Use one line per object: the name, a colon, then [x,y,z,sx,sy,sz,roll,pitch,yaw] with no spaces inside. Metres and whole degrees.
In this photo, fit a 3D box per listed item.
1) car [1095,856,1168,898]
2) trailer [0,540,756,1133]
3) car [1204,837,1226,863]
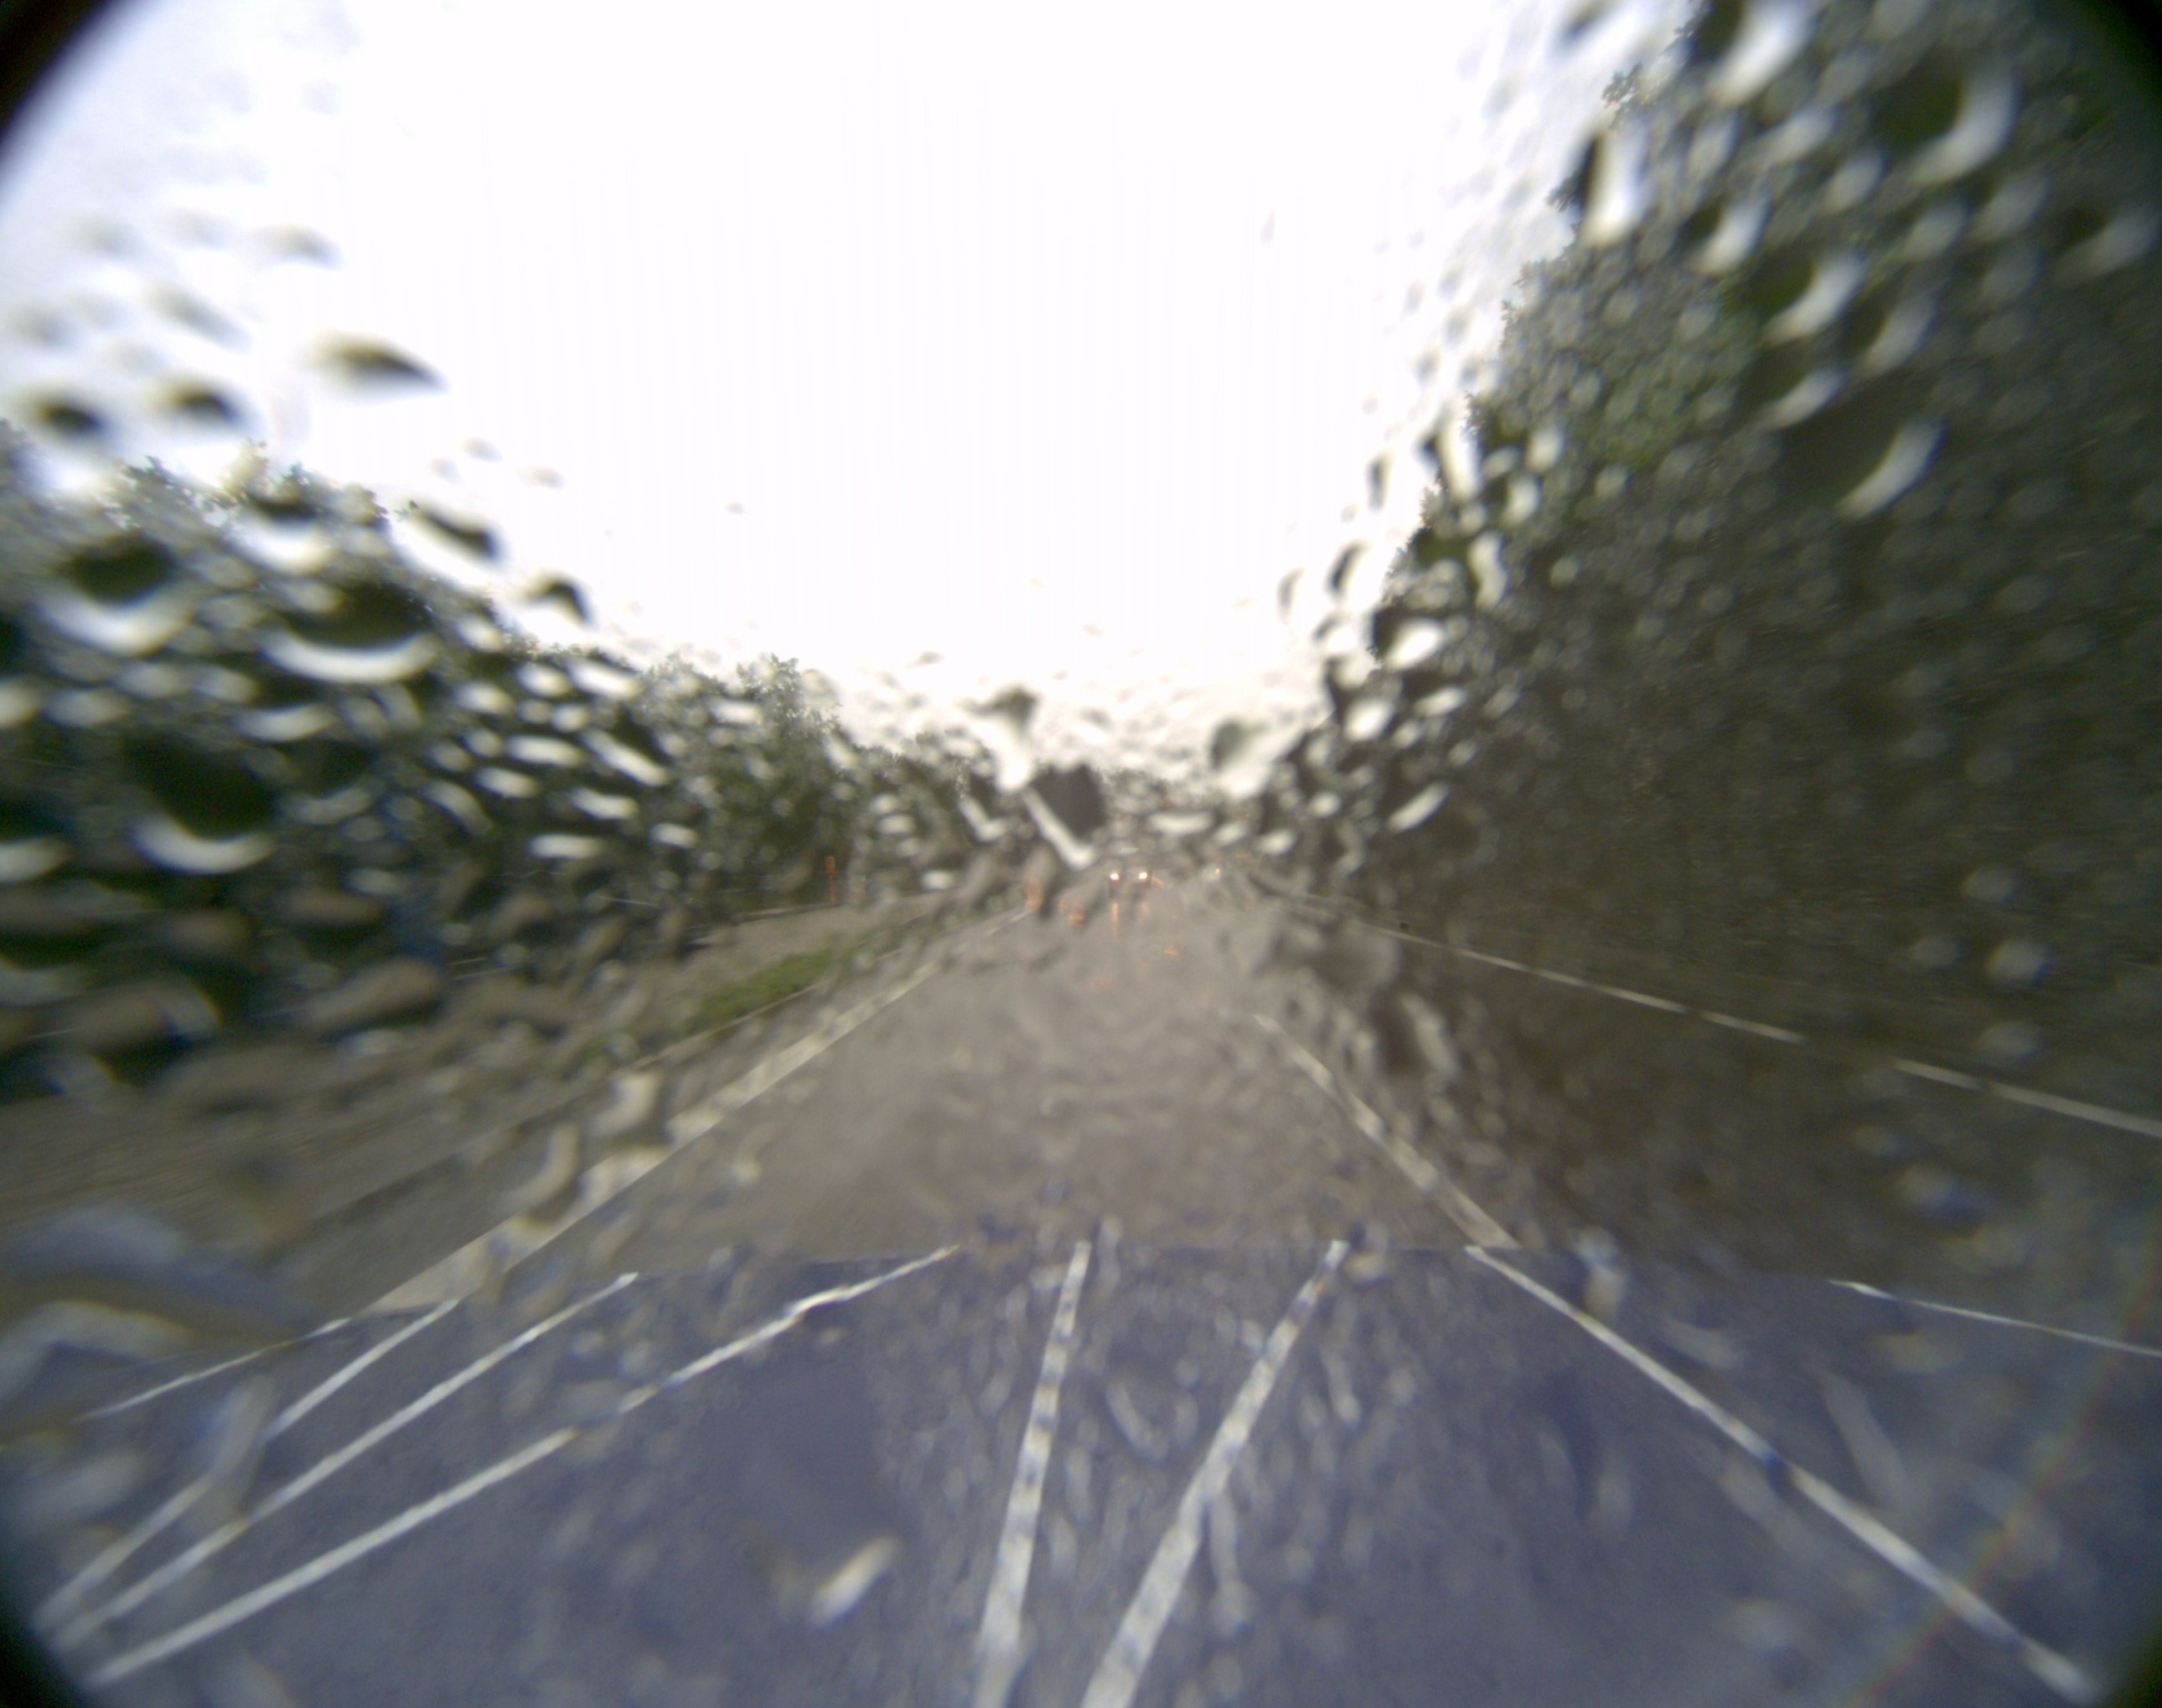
car: [2.288,0.911,32.679,2.358,1.549,5.503,-2,0,11]
trailer: [-8.980,-0.140,9.480,2.899,4.220,14.698,-1,0,2]
car: [15.781,-0.528,89.412,1.739,3.008,4.005,-1,1,21]
